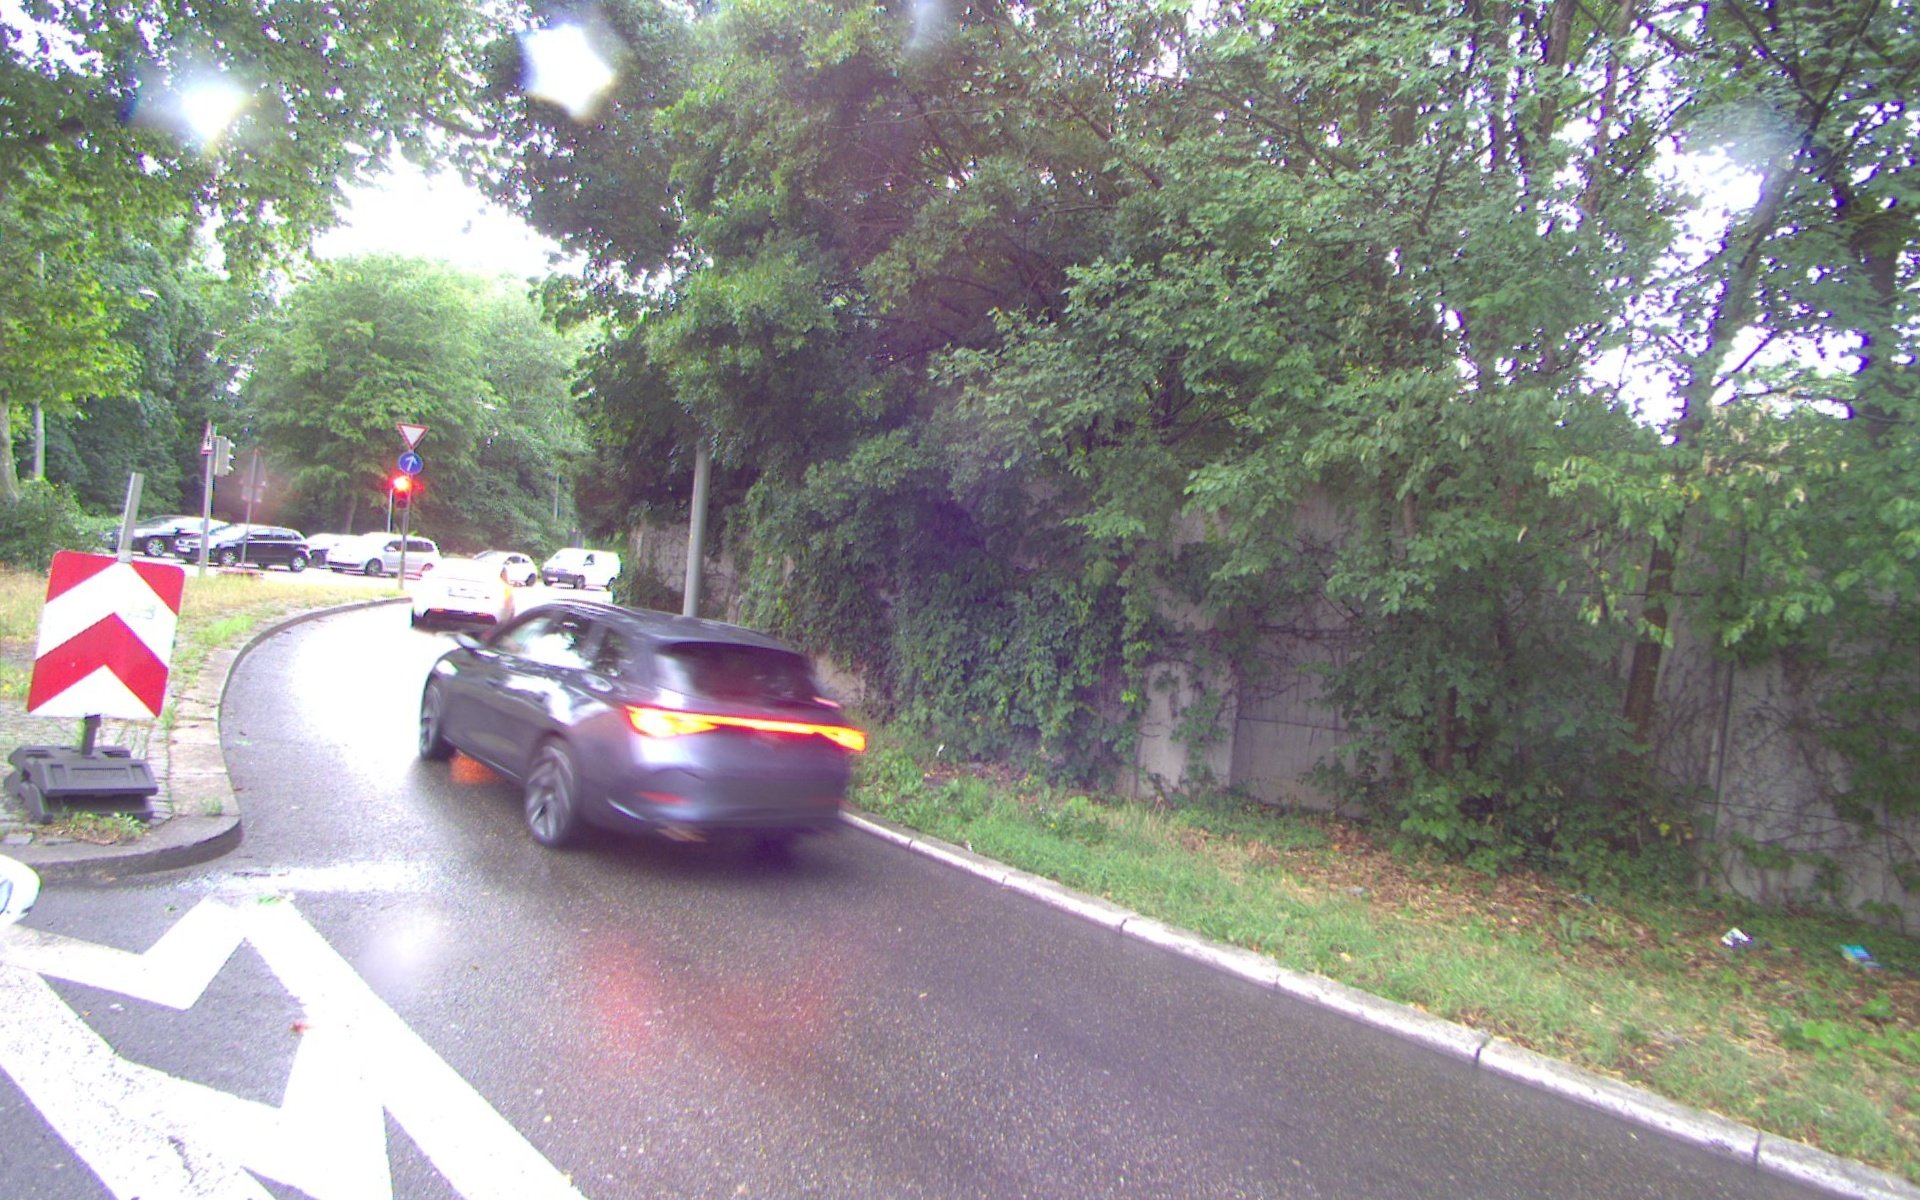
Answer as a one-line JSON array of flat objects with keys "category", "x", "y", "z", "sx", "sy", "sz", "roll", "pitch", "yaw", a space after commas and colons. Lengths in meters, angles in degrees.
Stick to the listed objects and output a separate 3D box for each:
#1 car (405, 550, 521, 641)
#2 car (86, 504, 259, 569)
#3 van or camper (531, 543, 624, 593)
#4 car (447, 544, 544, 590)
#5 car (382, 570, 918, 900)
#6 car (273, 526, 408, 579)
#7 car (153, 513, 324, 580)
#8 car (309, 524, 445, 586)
[{"category": "car", "x": -10.623, "y": -0.142, "z": 21.803, "sx": 1.837, "sy": 1.464, "sz": 4.593, "roll": 11, "pitch": -3, "yaw": -24}, {"category": "car", "x": -26.689, "y": -2.112, "z": 34.274, "sx": 1.913, "sy": 1.457, "sz": 4.218, "roll": 7, "pitch": -2, "yaw": 16}, {"category": "van or camper", "x": -19.144, "y": -1.559, "z": 50.646, "sx": 1.870, "sy": 1.970, "sz": 4.870, "roll": 7, "pitch": -1, "yaw": 12}, {"category": "car", "x": -20.556, "y": -1.421, "z": 44.692, "sx": 1.627, "sy": 1.478, "sz": 3.869, "roll": 7, "pitch": -2, "yaw": 16}, {"category": "car", "x": -2.472, "y": 0.748, "z": 7.197, "sx": 1.745, "sy": 1.418, "sz": 4.359, "roll": 11, "pitch": -3, "yaw": -44}, {"category": "car", "x": -24.770, "y": -1.864, "z": 40.429, "sx": 1.795, "sy": 1.418, "sz": 4.452, "roll": 7, "pitch": -2, "yaw": 16}, {"category": "car", "x": -23.329, "y": -1.679, "z": 32.734, "sx": 1.759, "sy": 1.477, "sz": 4.205, "roll": 7, "pitch": -2, "yaw": 16}, {"category": "car", "x": -22.092, "y": -1.649, "z": 38.341, "sx": 1.871, "sy": 1.699, "sz": 4.216, "roll": 7, "pitch": -2, "yaw": 16}]
